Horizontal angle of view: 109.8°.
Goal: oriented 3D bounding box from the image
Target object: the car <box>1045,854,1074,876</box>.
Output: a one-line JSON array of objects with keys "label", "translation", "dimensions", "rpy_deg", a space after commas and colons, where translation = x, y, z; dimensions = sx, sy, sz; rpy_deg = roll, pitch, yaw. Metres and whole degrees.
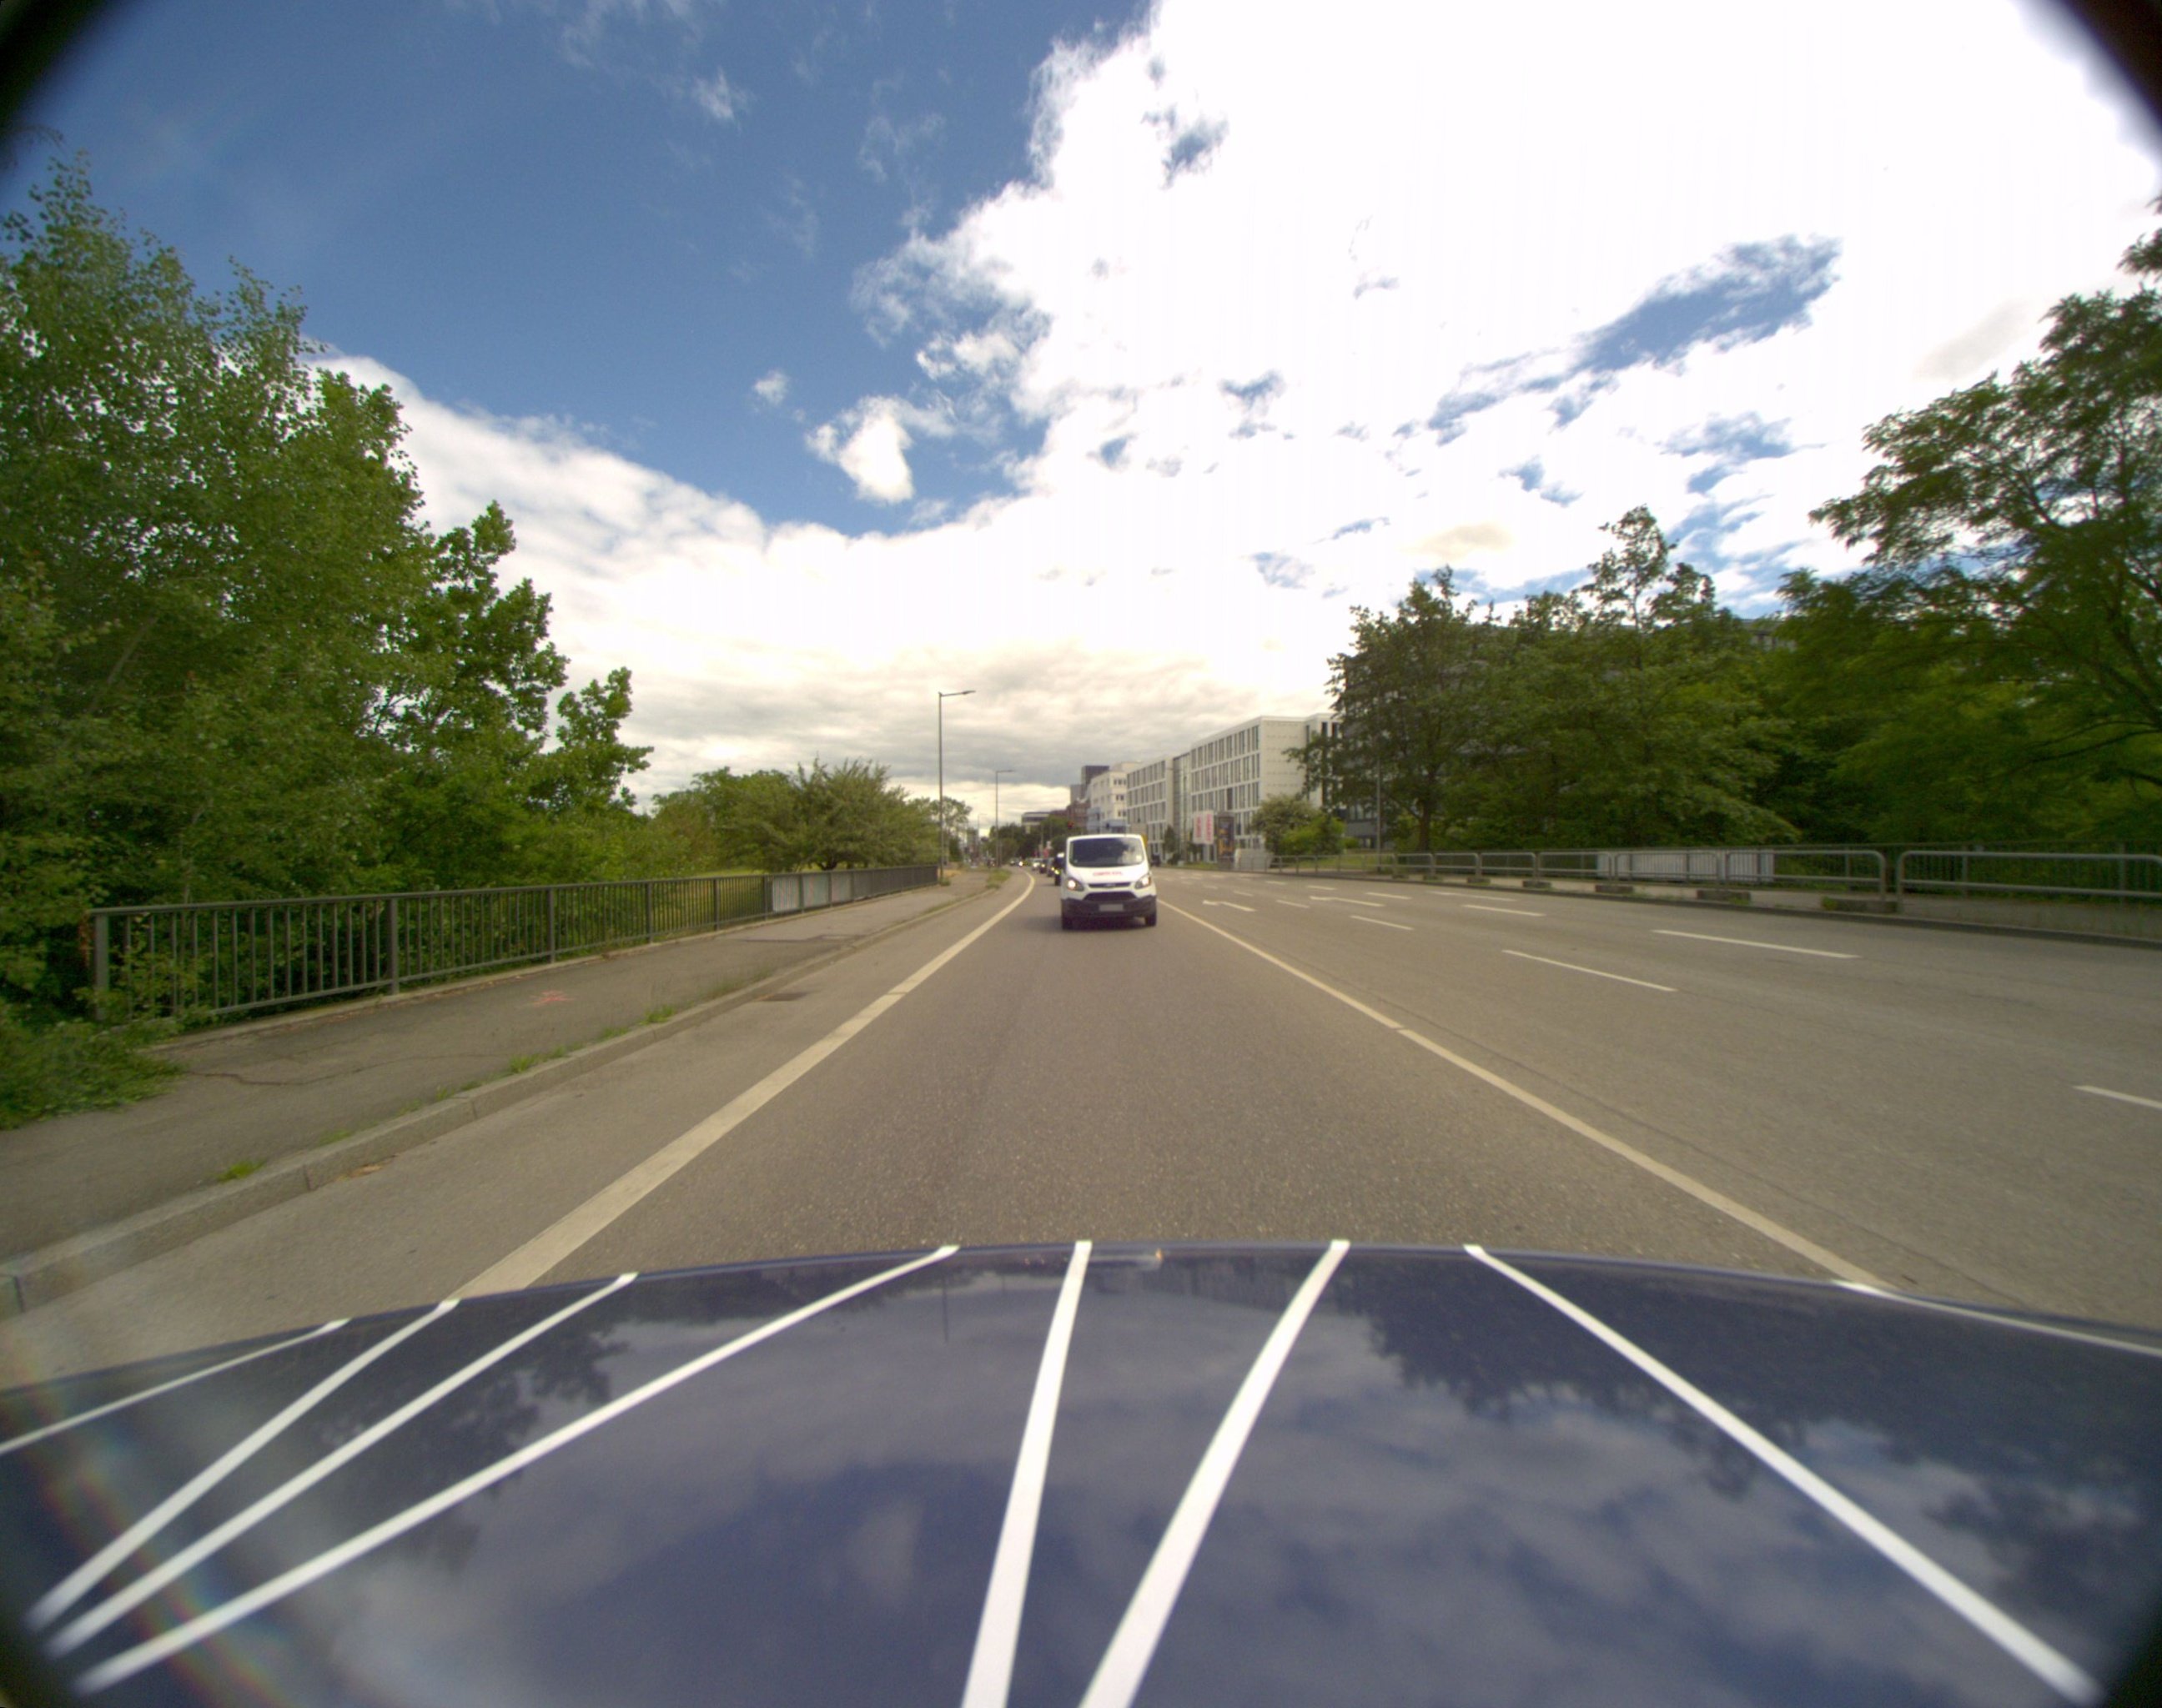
[{"label": "car", "translation": [-1.820, 0.871, 63.377], "dimensions": [1.873, 1.685, 4.368], "rpy_deg": [-2, 0, -9]}]

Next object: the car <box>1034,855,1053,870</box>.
[{"label": "car", "translation": [-4.743, 1.045, 95.164], "dimensions": [1.873, 1.685, 4.368], "rpy_deg": [-2, 0, -9]}]

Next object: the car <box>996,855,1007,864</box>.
[{"label": "car", "translation": [-14.833, 1.023, 141.213], "dimensions": [1.737, 1.432, 4.365], "rpy_deg": [-2, 0, -9]}]

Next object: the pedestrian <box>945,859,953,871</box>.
[{"label": "pedestrian", "translation": [-21.186, 1.832, 121.985], "dimensions": [0.764, 1.872, 0.802], "rpy_deg": [-1, 1, 42]}]

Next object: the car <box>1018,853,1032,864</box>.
[{"label": "car", "translation": [-9.438, 0.778, 128.809], "dimensions": [1.874, 1.685, 4.367], "rpy_deg": [-2, 0, -10]}]

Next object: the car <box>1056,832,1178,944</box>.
[{"label": "car", "translation": [0.703, 0.603, 16.799], "dimensions": [2.122, 1.963, 6.206], "rpy_deg": [-2, 0, 1]}]

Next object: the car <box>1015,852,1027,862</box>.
[{"label": "car", "translation": [-11.218, 0.535, 141.403], "dimensions": [1.873, 1.685, 4.368], "rpy_deg": [-2, 0, -9]}]

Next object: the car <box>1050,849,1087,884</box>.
[{"label": "car", "translation": [-0.645, 0.678, 42.927], "dimensions": [1.872, 1.836, 4.371], "rpy_deg": [-2, 0, 1]}]
